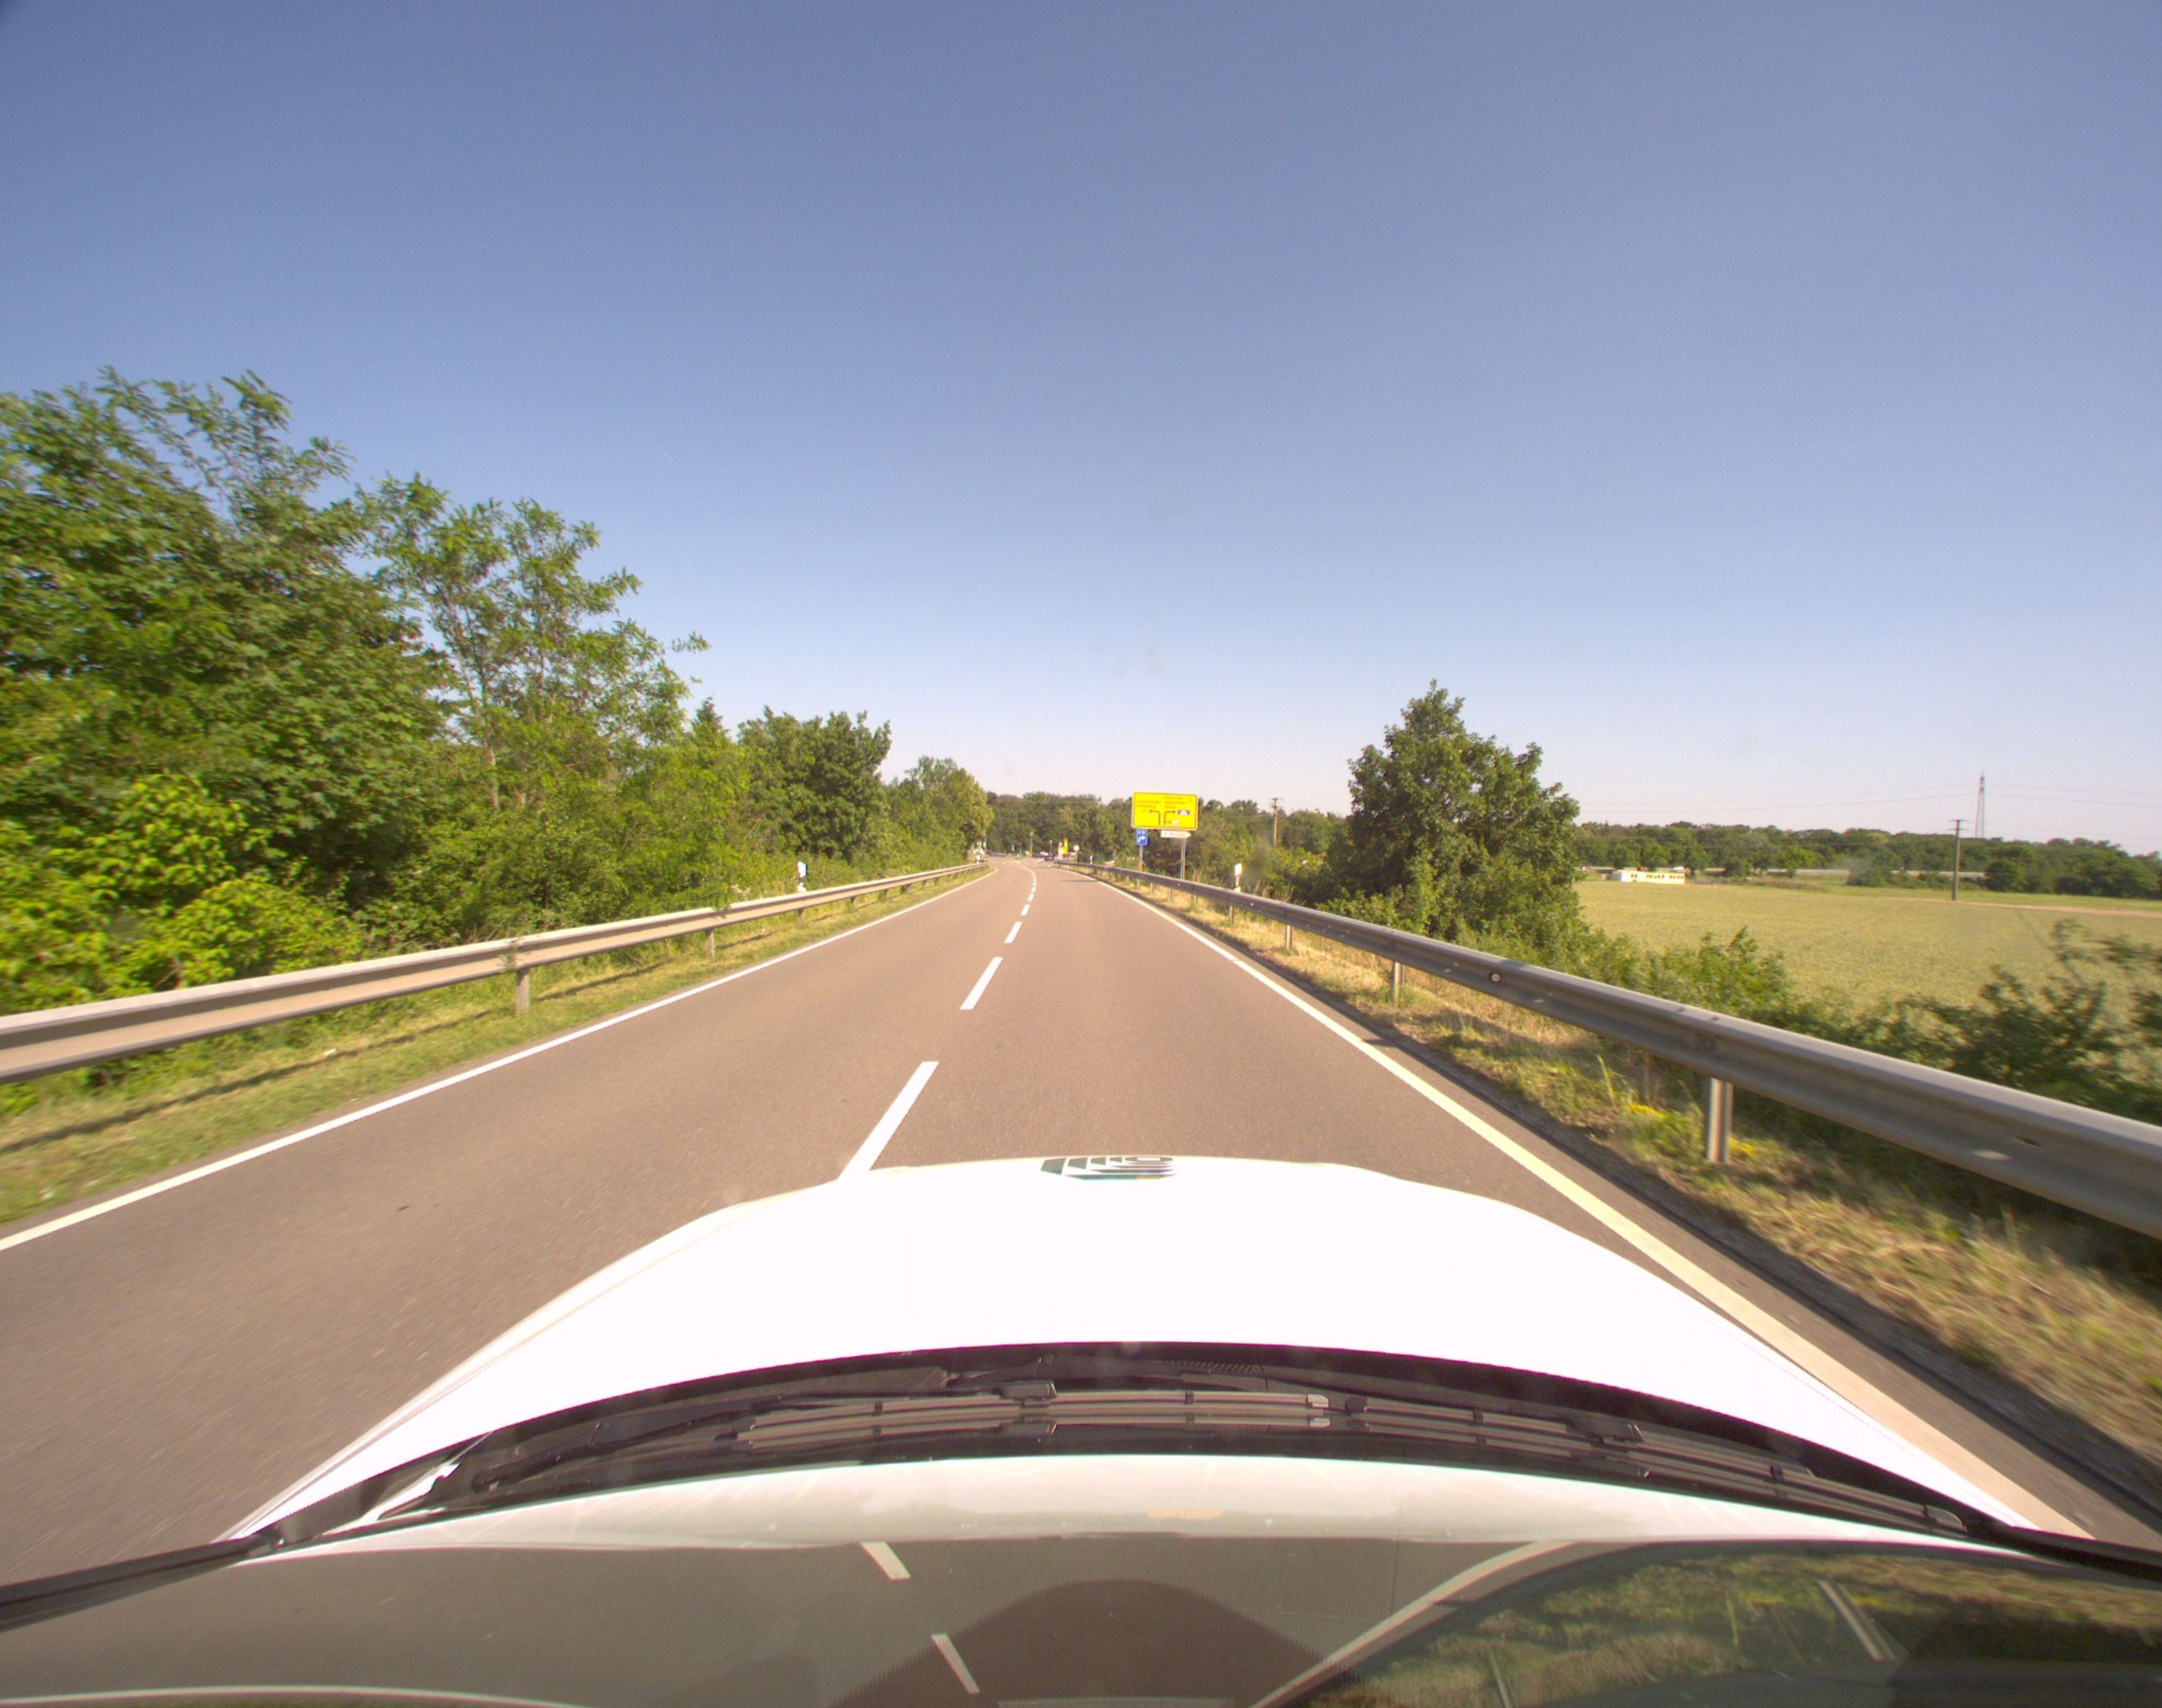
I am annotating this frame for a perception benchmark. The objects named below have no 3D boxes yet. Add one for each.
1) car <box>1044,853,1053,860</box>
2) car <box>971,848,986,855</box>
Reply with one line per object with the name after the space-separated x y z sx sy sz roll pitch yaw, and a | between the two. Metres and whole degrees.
-7.542 0.564 189.159 1.793 1.398 4.001 -5 0 1 | car
-29.241 -0.642 231.993 4.008 2.013 1.781 -1 0 -26 | car
